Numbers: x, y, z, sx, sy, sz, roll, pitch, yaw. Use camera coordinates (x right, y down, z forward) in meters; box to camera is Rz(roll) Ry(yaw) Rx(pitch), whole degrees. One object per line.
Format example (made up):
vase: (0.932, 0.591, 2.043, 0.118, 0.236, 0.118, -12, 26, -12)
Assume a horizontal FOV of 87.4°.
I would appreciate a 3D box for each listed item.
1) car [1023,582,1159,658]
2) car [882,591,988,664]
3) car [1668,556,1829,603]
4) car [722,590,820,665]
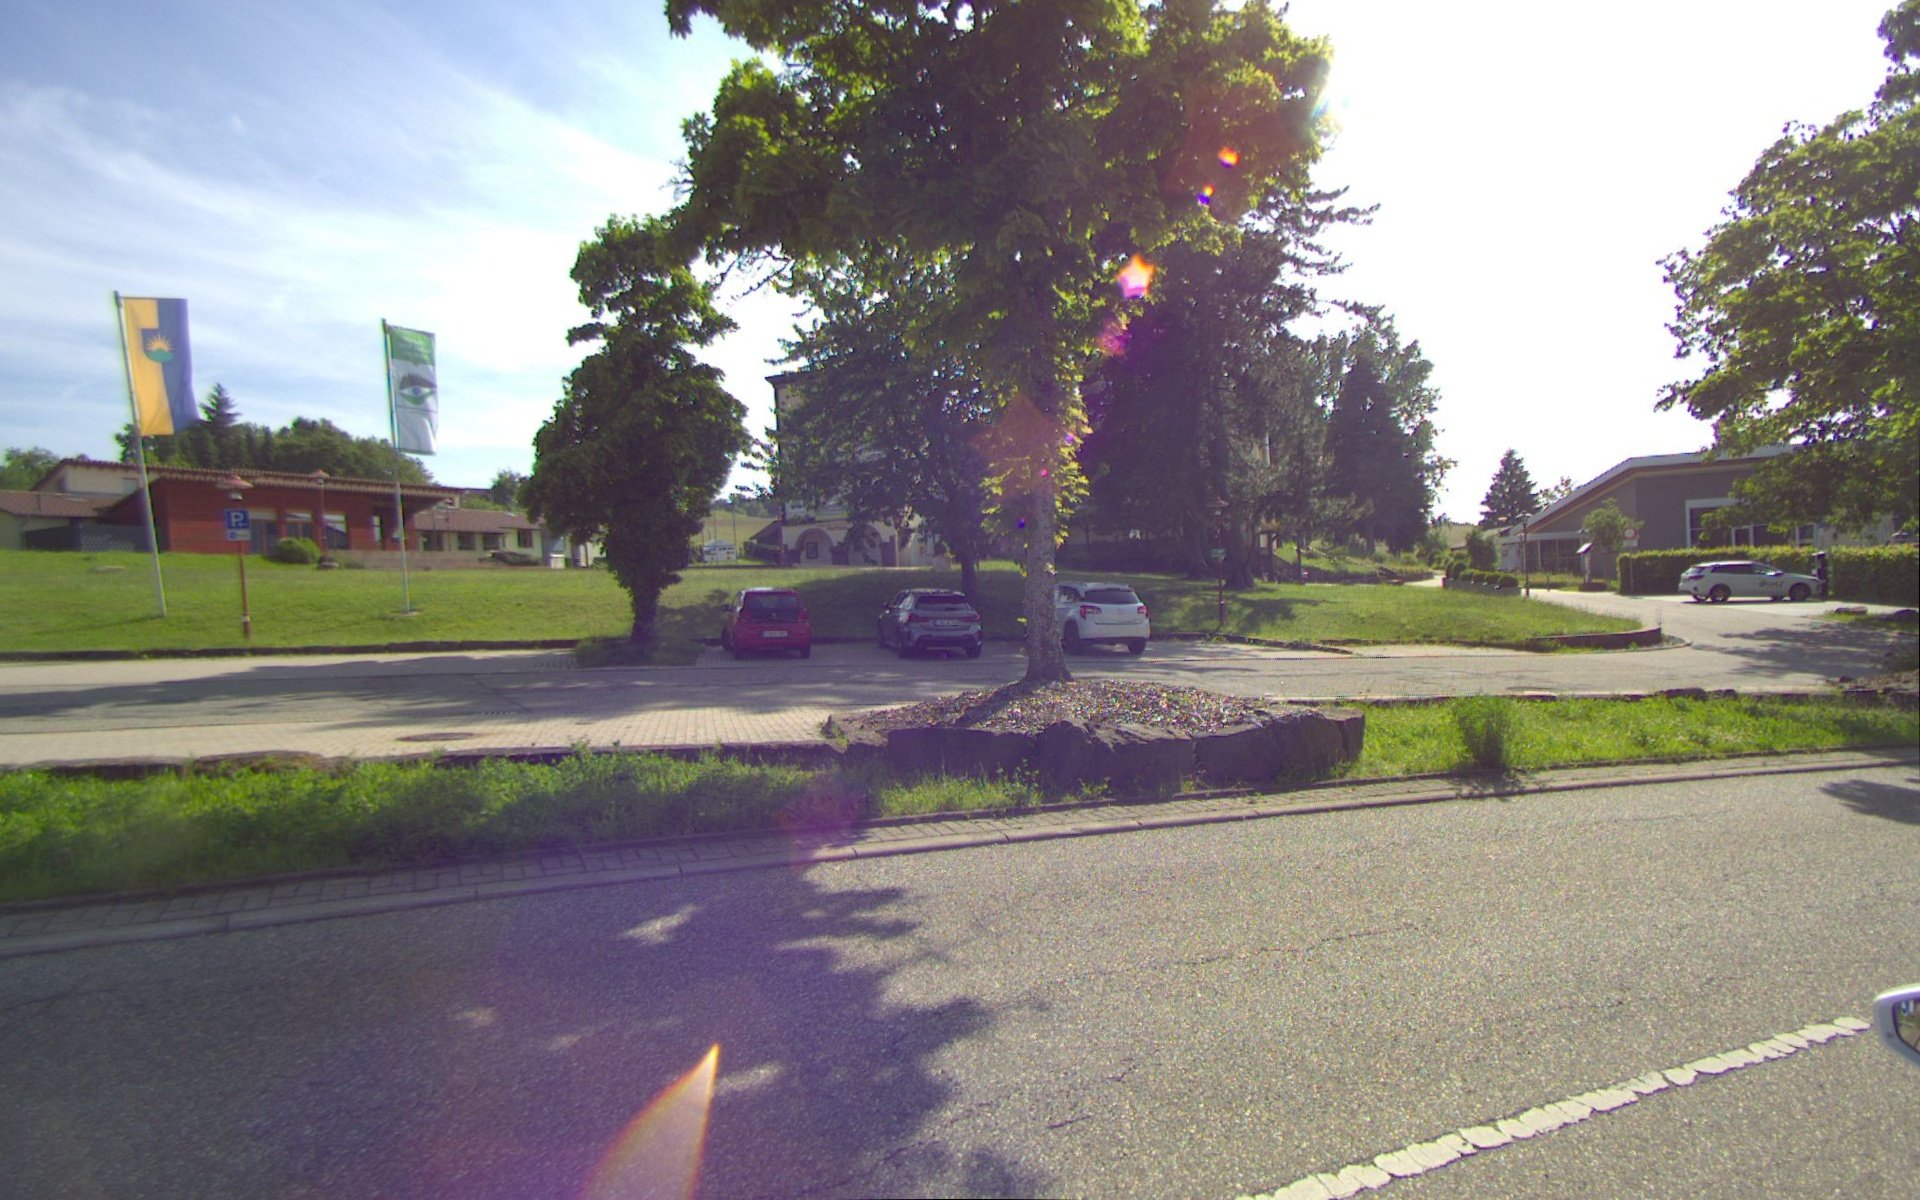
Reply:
car: (2.989, 0.401, 23.785, 1.747, 1.631, 3.926, 0, 1, -17)
car: (-0.644, 0.556, 22.556, 1.745, 1.453, 3.704, 0, 1, -12)
car: (31.220, -0.827, 39.936, 4.636, 1.555, 2.000, -2, 4, 16)
car: (-4.253, 0.549, 22.227, 1.748, 1.490, 3.195, 0, 1, -18)
